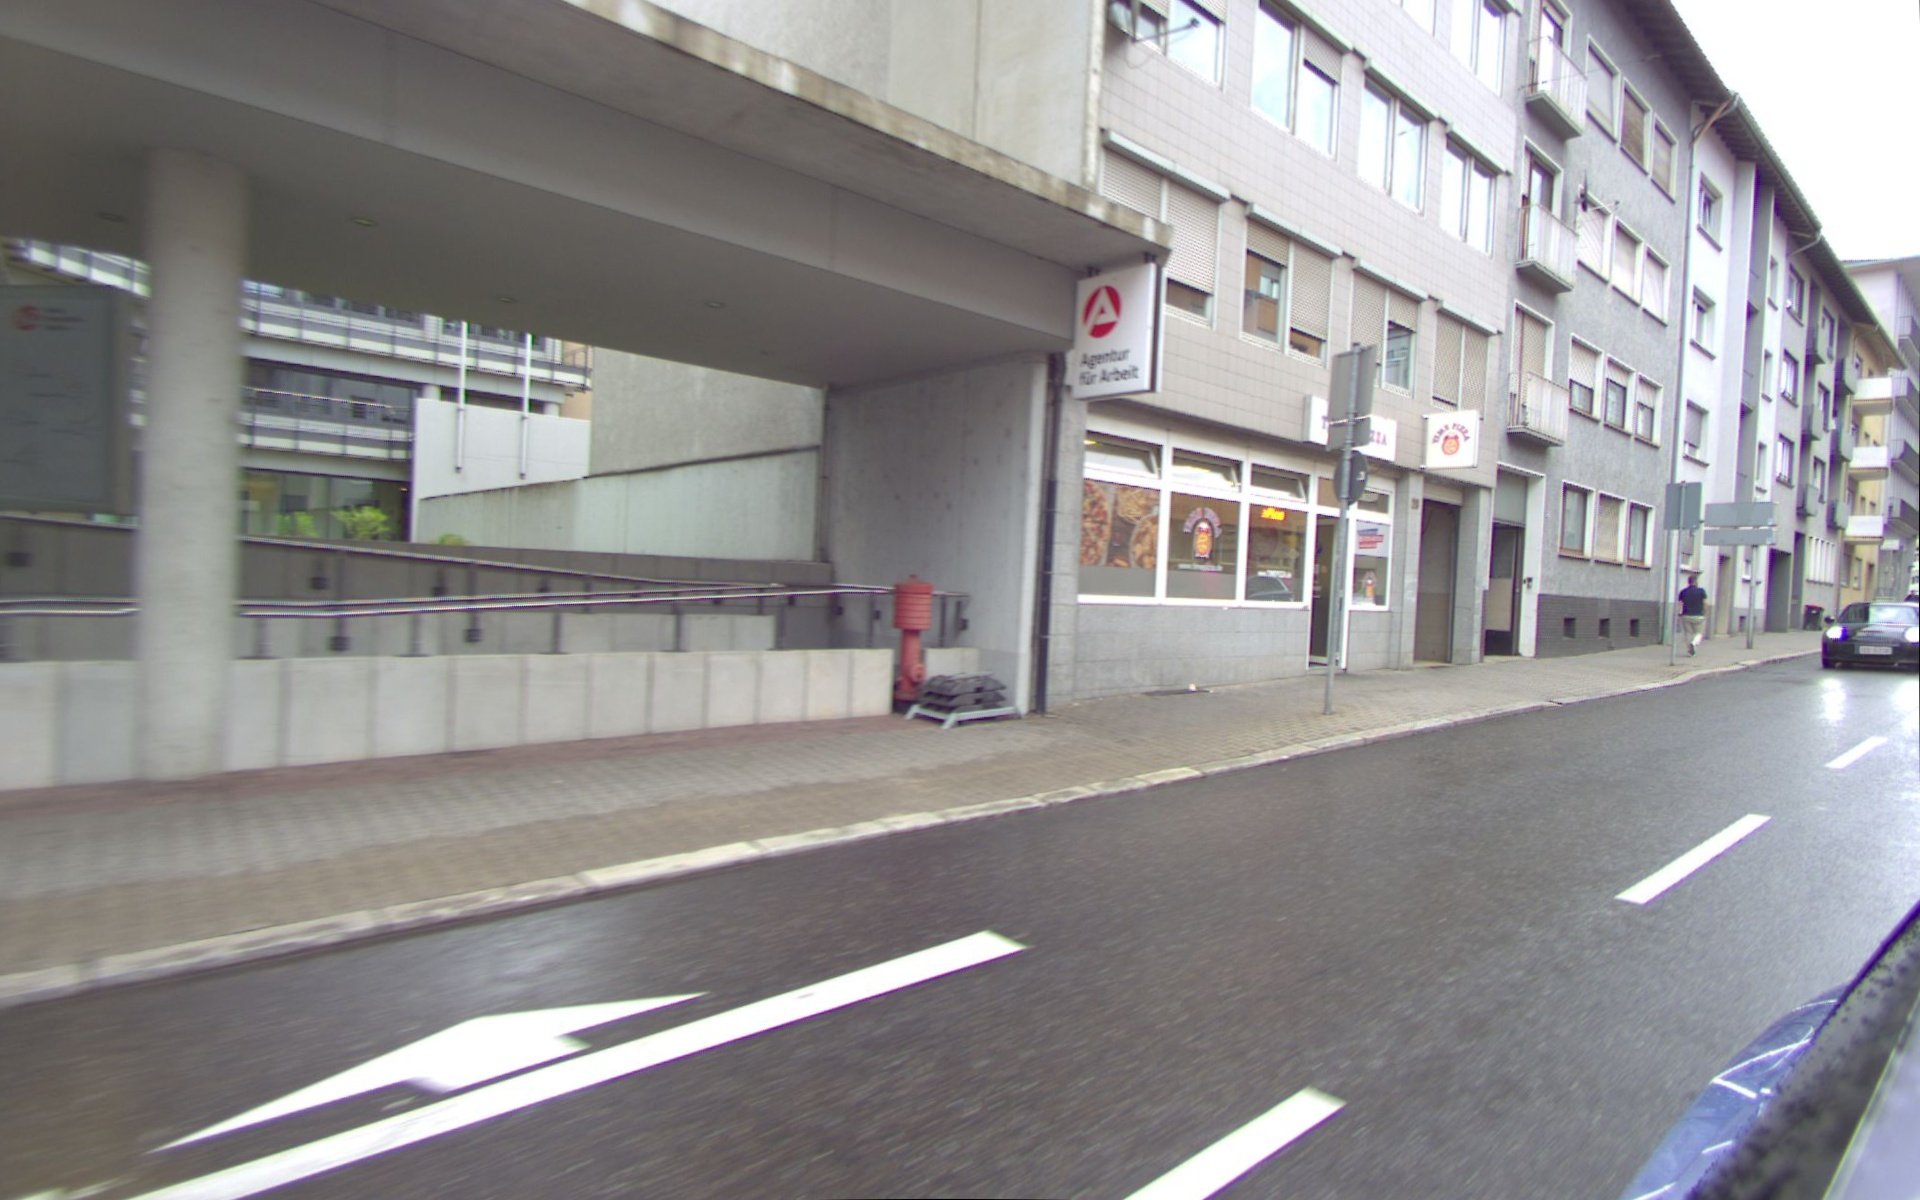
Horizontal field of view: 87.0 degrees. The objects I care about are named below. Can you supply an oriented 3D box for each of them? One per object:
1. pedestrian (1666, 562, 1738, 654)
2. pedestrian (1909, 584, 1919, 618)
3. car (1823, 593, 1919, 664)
[{"bbox_3d":[16.219,0.146,22.119,1.100,1.887,0.871,-1,7,-41],"label":"pedestrian"},{"bbox_3d":[51.197,0.068,53.743,1.117,1.772,0.946,4,3,44],"label":"pedestrian"},{"bbox_3d":[20.518,0.557,22.166,4.144,1.394,1.854,-1,1,-41],"label":"car"}]
